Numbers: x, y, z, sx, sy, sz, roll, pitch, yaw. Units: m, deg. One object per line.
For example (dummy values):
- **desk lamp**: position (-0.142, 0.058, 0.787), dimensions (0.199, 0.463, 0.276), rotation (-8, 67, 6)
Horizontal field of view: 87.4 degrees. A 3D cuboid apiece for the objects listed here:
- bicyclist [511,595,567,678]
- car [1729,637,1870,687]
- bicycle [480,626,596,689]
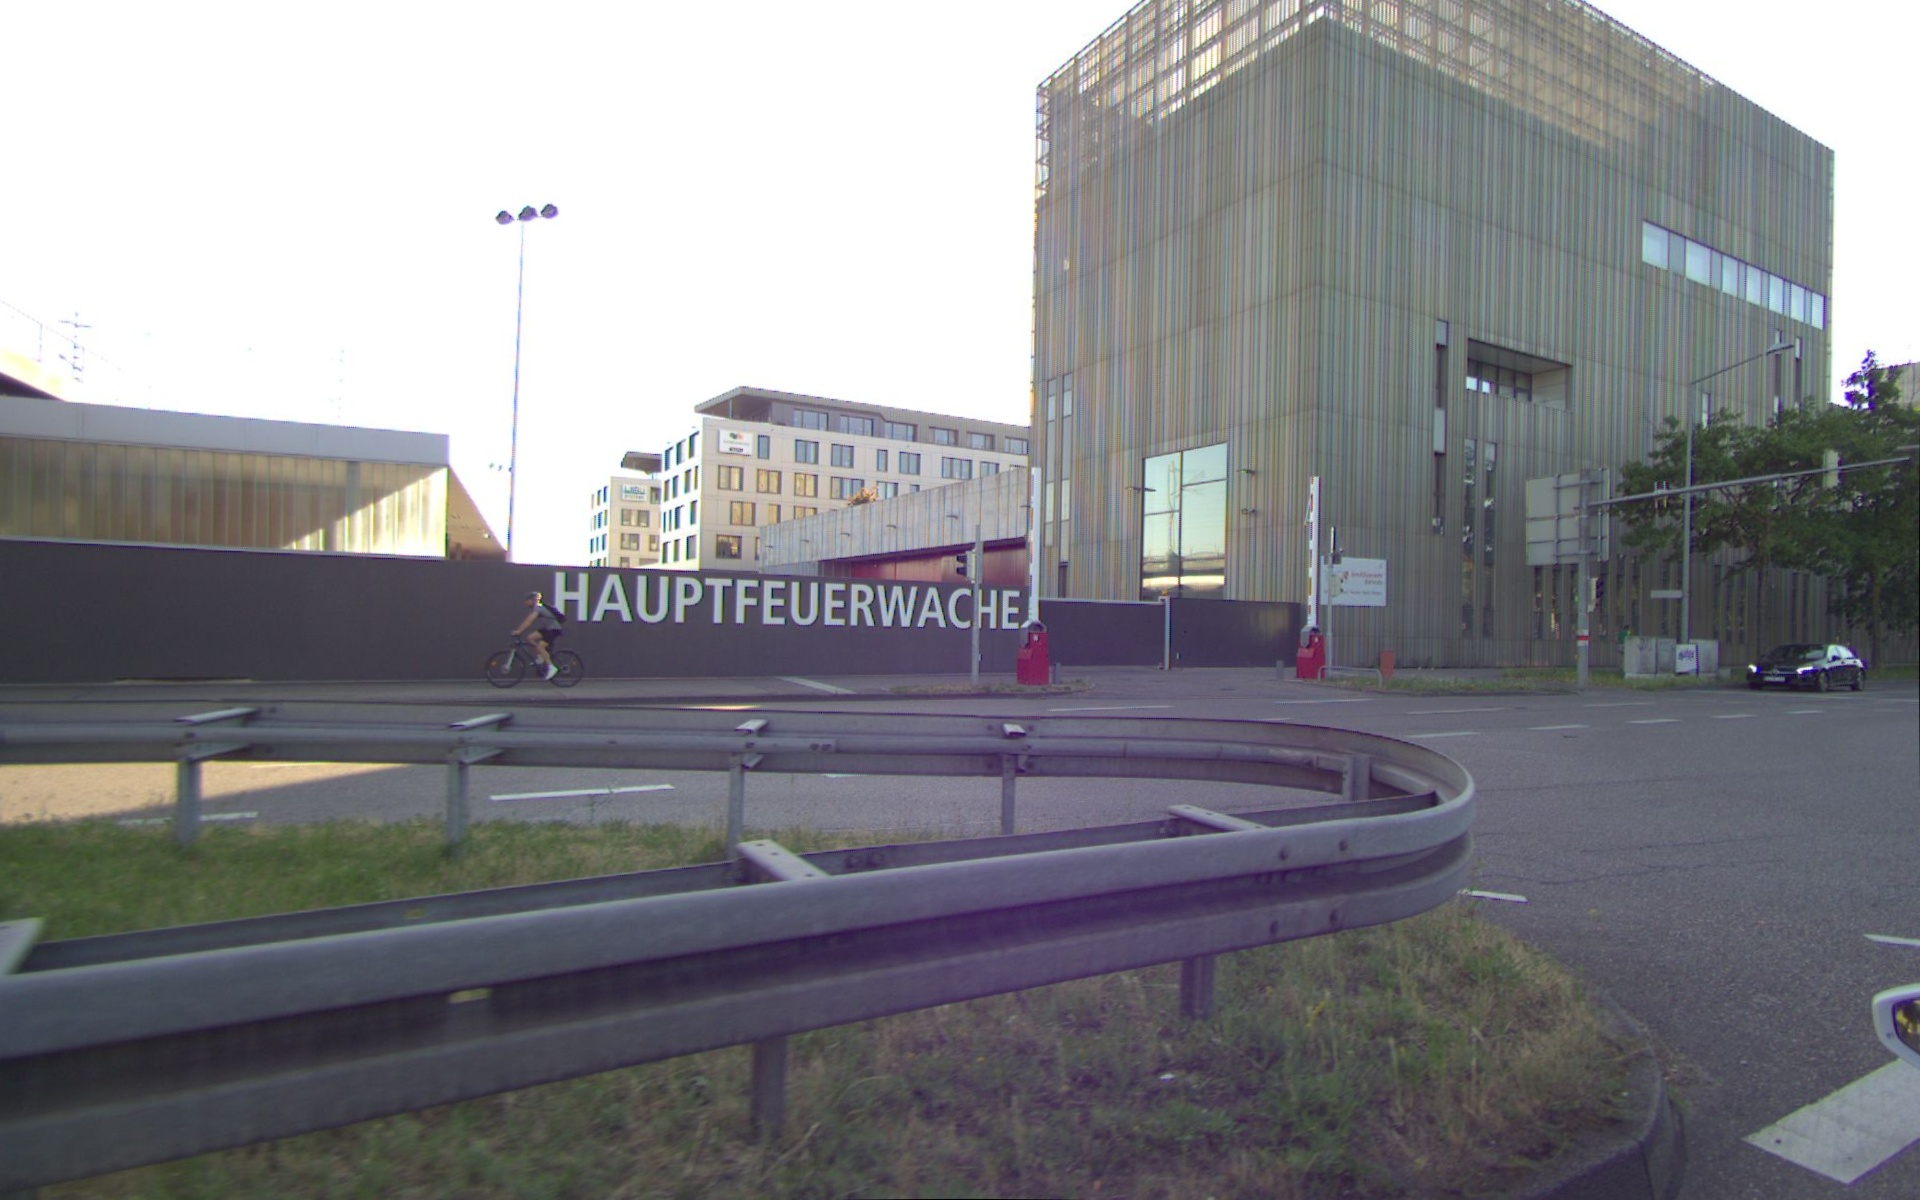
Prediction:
- **bicyclist**: position (-8.274, 0.713, 19.752), dimensions (0.927, 1.584, 0.722), rotation (3, 0, -25)
- **car**: position (25.558, 1.920, 30.575), dimensions (4.300, 1.418, 1.984), rotation (3, -5, -31)
- **bicycle**: position (-8.292, 1.112, 19.761), dimensions (2.053, 1.172, 0.703), rotation (1, 1, -26)
